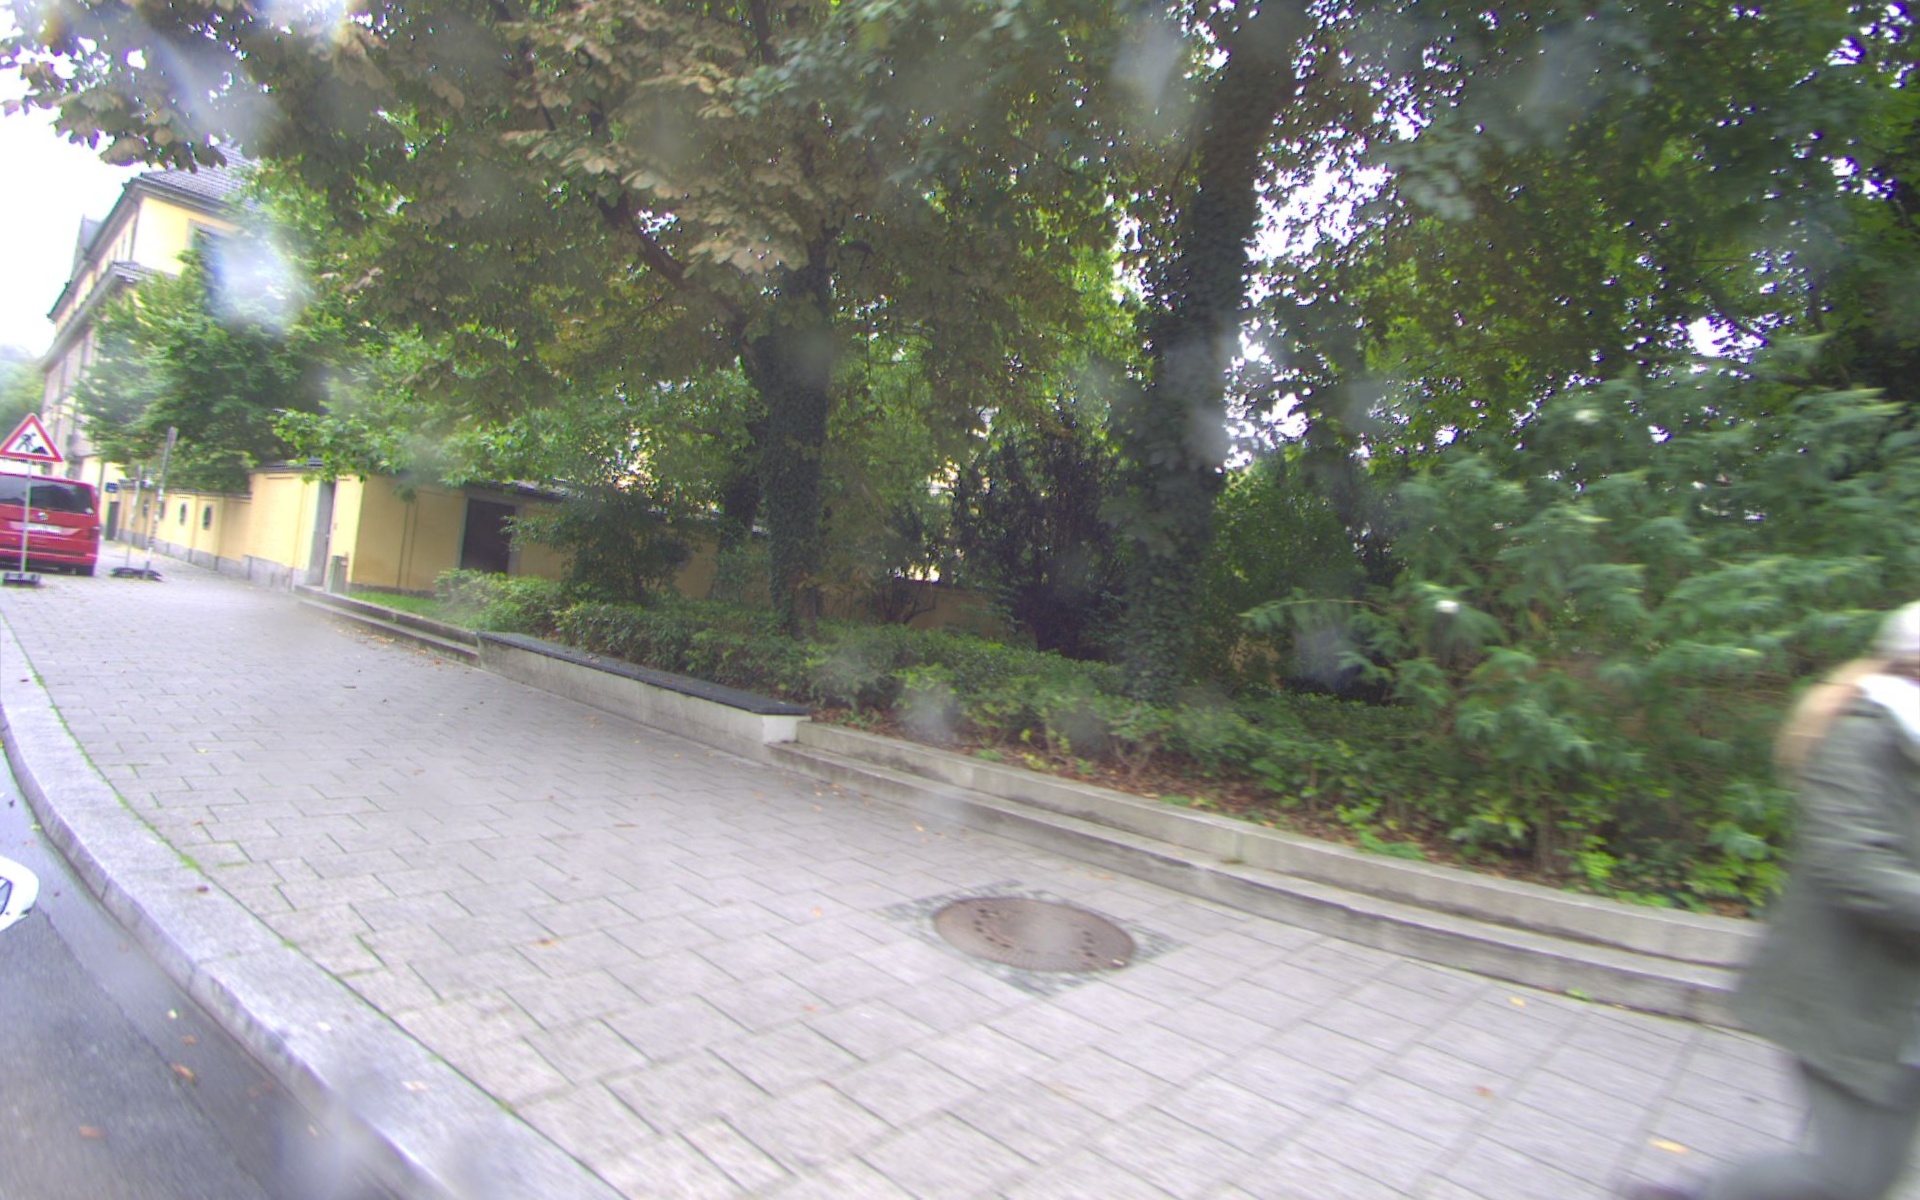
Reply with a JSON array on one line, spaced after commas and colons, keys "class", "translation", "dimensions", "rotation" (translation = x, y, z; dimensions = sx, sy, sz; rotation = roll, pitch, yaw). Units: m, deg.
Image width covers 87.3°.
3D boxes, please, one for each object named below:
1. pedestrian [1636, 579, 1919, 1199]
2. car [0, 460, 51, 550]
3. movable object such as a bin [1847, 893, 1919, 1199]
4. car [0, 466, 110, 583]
[{"class": "pedestrian", "translation": [1.898, 0.818, 1.998], "dimensions": [0.583, 1.640, 0.863], "rotation": [6, 2, 19]}, {"class": "car", "translation": [-30.445, -3.044, 31.633], "dimensions": [5.663, 2.517, 2.092], "rotation": [5, -1, 43]}, {"class": "movable object such as a bin", "translation": [1.838, 1.107, 1.290], "dimensions": [0.763, 1.098, 0.900], "rotation": [6, 2, 19]}, {"class": "car", "translation": [-19.370, -1.590, 20.880], "dimensions": [5.372, 1.991, 1.856], "rotation": [5, -2, 43]}]
